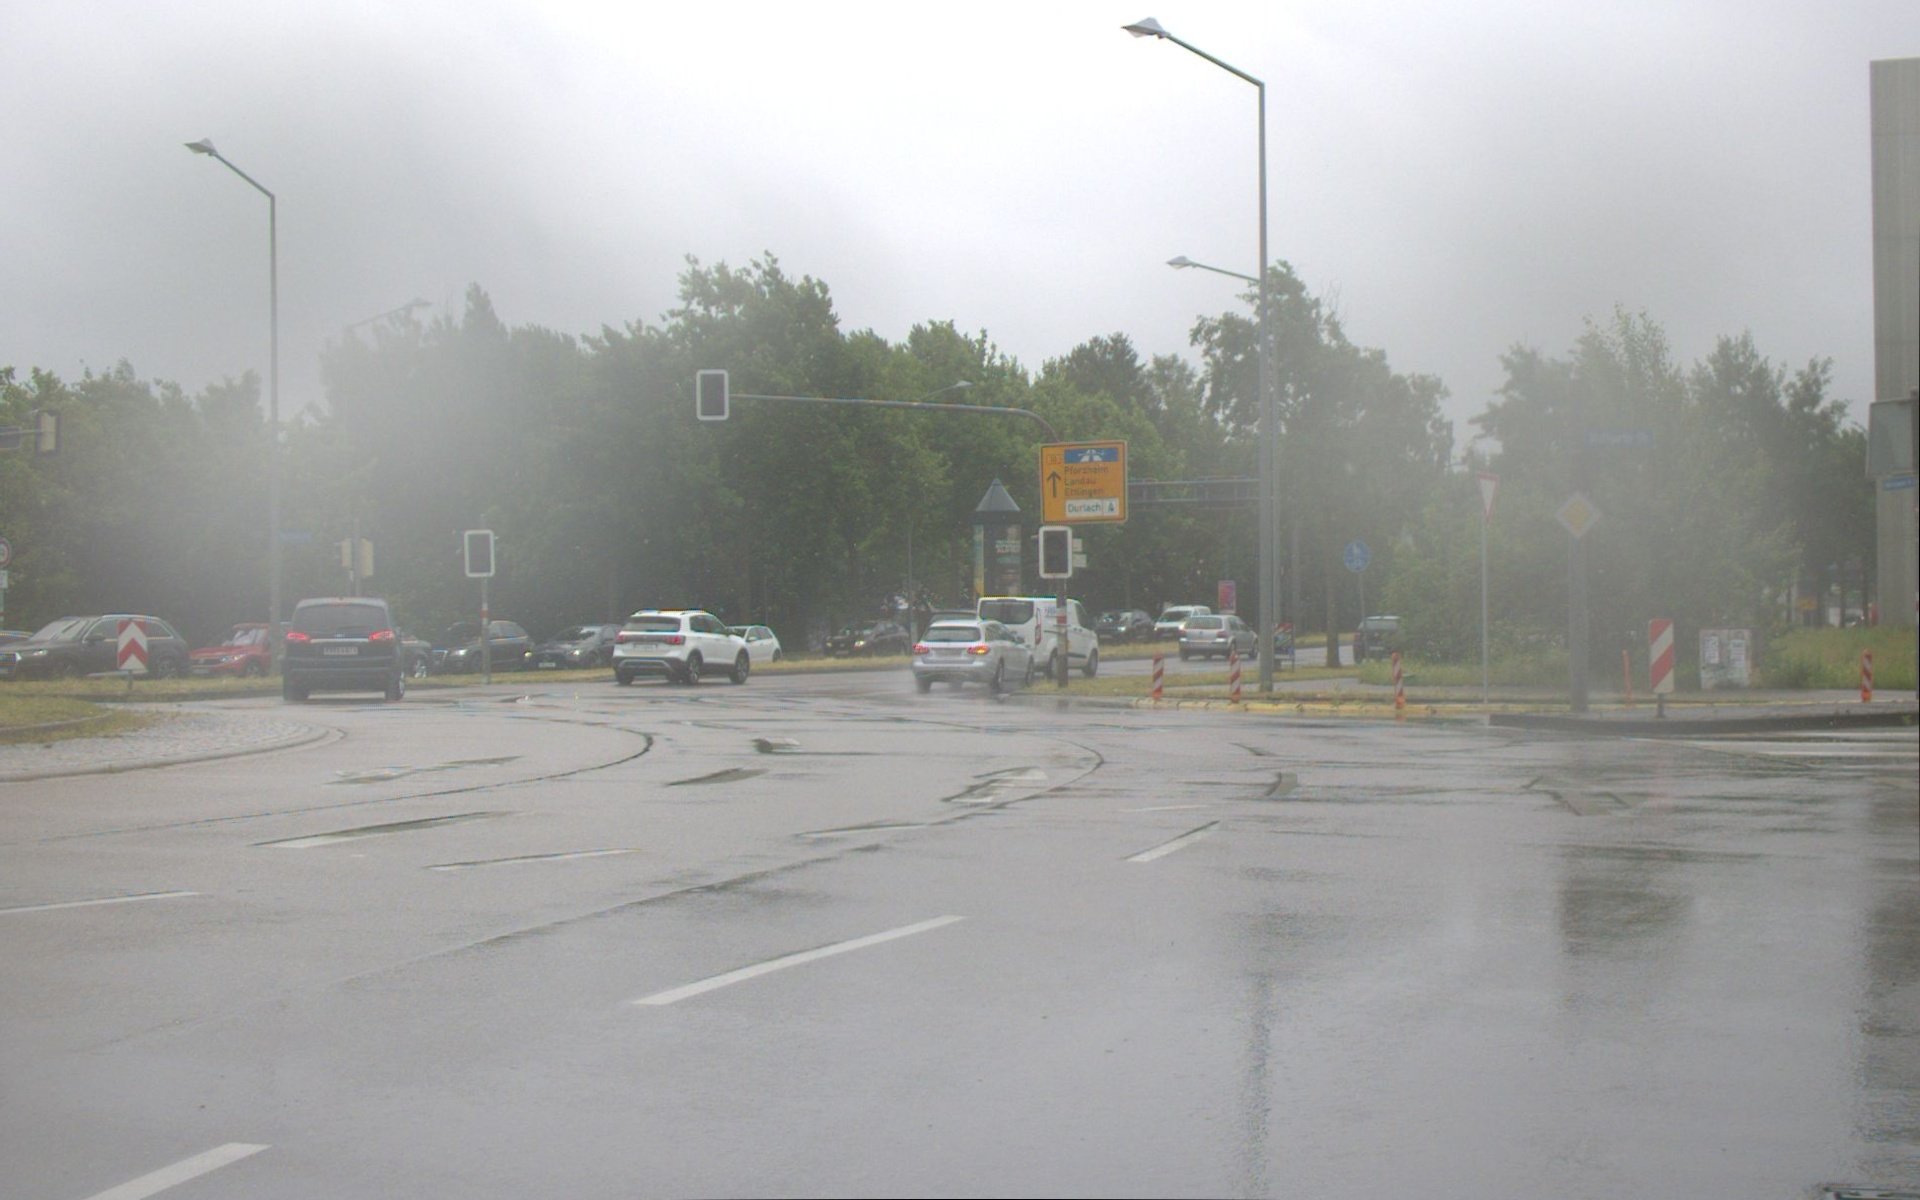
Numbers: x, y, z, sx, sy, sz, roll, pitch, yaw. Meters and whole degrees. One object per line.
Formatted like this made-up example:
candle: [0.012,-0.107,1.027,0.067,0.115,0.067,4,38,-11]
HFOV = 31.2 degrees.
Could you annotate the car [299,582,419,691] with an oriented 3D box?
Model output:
car: [-9.675,0.598,55.338,1.783,1.642,4.001,2,-1,-10]

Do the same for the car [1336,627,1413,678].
car: [12.750,1.595,105.609,1.690,1.487,3.248,0,0,20]

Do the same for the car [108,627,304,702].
car: [-17.994,1.550,82.152,4.238,1.642,1.788,3,-2,-44]

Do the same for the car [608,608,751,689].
car: [-5.964,1.055,73.514,1.682,1.642,3.943,1,-1,16]

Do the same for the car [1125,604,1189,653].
car: [8.517,1.247,148.237,1.790,2.007,3.670,1,-1,19]

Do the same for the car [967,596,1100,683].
car: [1.858,1.000,85.184,1.786,2.029,3.994,1,-1,25]

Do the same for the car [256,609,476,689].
car: [-13.104,1.087,75.946,4.379,1.642,1.789,2,-1,-34]

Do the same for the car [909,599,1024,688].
car: [0.174,0.887,72.283,1.784,1.804,4.836,0,0,8]

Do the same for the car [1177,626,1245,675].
car: [7.947,1.583,108.672,1.690,1.487,3.249,0,0,13]

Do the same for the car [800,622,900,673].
car: [-3.764,1.635,118.337,1.786,1.642,3.994,1,-1,26]

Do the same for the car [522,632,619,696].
car: [-10.520,1.744,93.166,1.783,1.642,4.393,2,-1,4]
